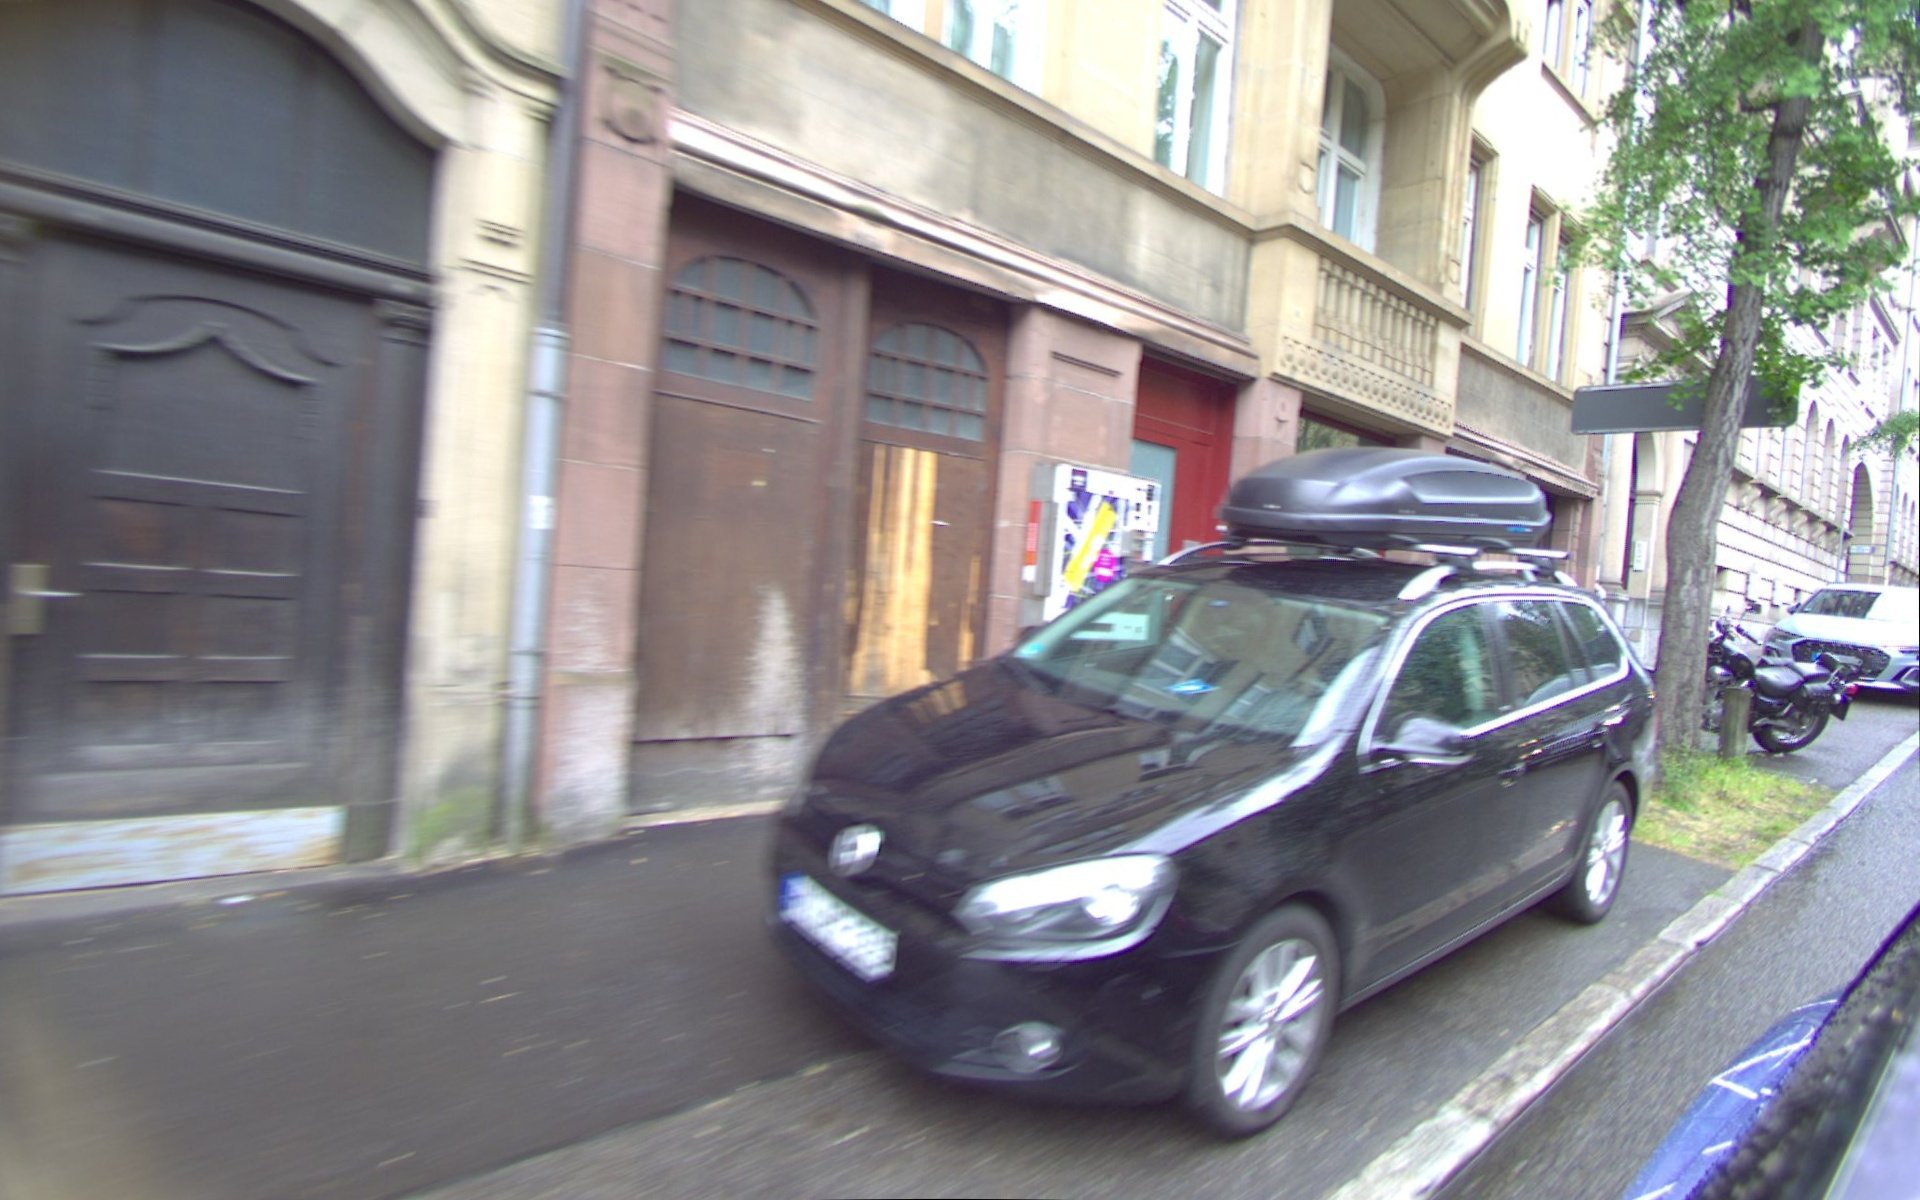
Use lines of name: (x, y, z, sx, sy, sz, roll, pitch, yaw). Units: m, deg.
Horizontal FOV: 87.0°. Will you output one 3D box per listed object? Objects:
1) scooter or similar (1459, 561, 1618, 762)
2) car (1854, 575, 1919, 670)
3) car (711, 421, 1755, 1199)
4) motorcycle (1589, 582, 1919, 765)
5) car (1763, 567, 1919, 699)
scooter or similar: (4.263, 0.406, 7.439, 1.182, 1.334, 0.594, 0, 3, -41)
car: (16.537, 0.381, 17.180, 3.125, 1.466, 1.496, 0, 5, -40)
car: (1.331, 0.384, 3.889, 4.025, 1.670, 1.765, 0, 7, -40)
motorcycle: (6.508, 0.586, 8.312, 2.232, 1.258, 0.525, 5, 4, -1)
car: (12.648, 0.381, 13.808, 3.967, 1.469, 1.795, 0, 6, -40)
